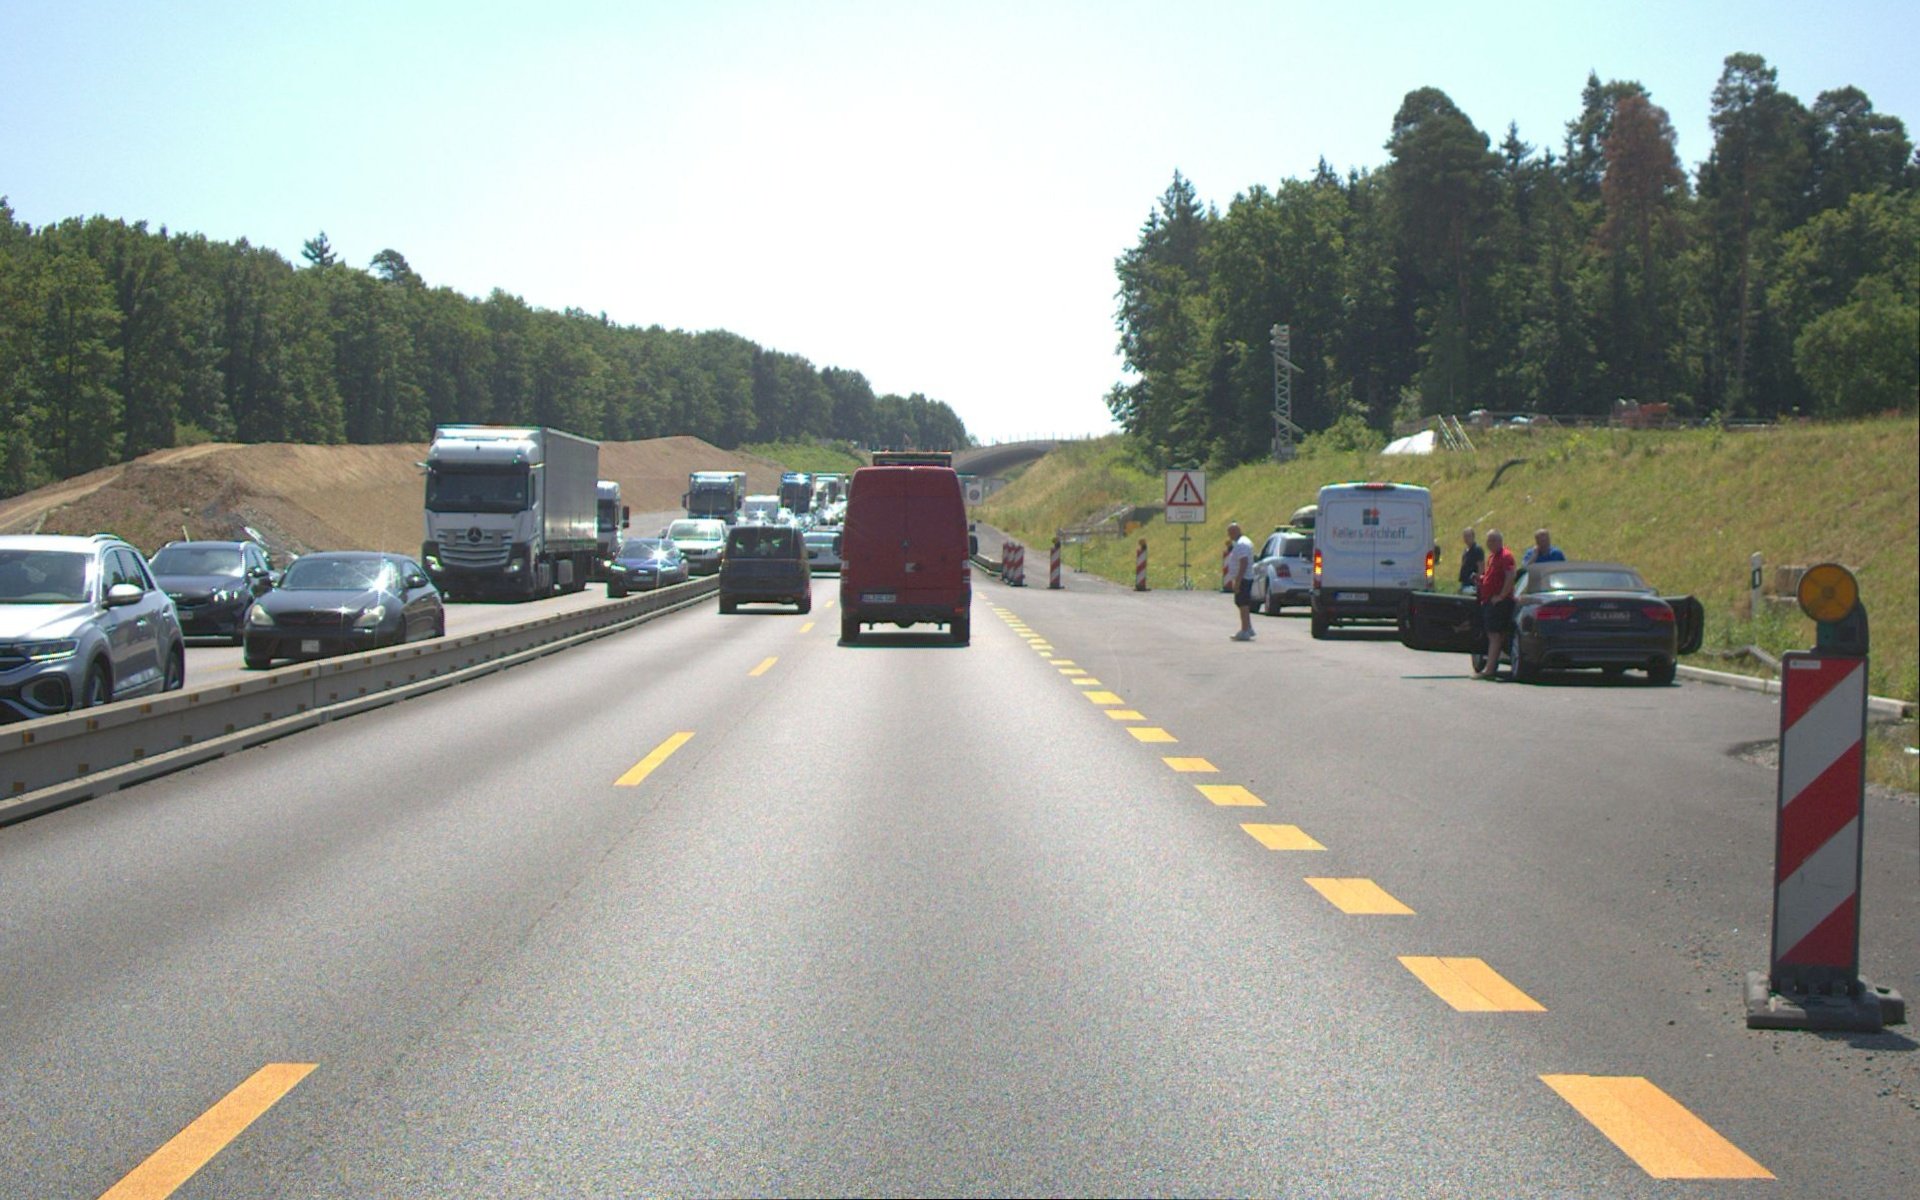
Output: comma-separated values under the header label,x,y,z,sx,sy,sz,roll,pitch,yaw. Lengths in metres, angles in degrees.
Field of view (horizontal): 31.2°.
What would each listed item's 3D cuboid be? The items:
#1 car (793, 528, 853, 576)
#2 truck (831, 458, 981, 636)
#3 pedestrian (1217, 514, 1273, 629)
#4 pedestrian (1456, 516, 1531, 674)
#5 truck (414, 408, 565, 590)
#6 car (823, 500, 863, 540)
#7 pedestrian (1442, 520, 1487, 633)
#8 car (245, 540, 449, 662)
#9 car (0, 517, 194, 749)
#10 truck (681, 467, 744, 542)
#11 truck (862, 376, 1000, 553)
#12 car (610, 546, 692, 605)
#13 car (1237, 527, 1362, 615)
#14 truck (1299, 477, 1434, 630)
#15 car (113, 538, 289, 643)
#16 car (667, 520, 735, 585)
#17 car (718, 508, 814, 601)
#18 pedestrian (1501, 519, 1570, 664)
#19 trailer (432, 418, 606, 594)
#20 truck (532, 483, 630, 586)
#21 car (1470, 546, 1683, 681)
label,x,y,z,sx,sy,sz,roll,pitch,yaw
car,-4.519,-1.583,113.853,1.831,1.517,3.961,1,0,-1
truck,-0.840,-0.786,53.150,2.153,2.581,5.333,1,0,-1
pedestrian,4.548,-0.455,54.913,0.723,1.822,0.720,1,0,-9
pedestrian,6.248,-0.059,40.276,0.640,1.822,0.559,1,1,-21
truck,-10.851,-2.275,79.723,2.768,4.030,4.943,1,0,0
car,-6.092,-4.161,179.760,1.993,2.007,4.000,1,0,-1
pedestrian,8.054,-0.374,54.886,0.563,1.789,0.667,1,0,-2
car,-7.451,0.000,42.184,1.729,1.382,4.861,1,0,-2
car,-6.926,0.201,25.214,1.775,1.549,4.140,-1,1,-2
truck,-12.768,-4.869,177.916,2.509,3.605,9.641,1,0,0
truck,-1.041,-4.519,120.084,4.400,5.477,16.604,1,0,-1
car,-7.615,-0.597,84.970,1.726,1.382,4.484,1,0,-2
car,7.102,-0.639,72.375,1.774,1.671,4.856,2,2,-4
truck,6.911,-0.821,58.684,2.130,2.448,5.924,1,1,6
car,-10.887,-0.135,49.561,1.630,1.419,4.502,1,0,-2
car,-8.073,-1.456,107.370,1.825,1.920,5.264,1,0,-2
car,-3.985,-0.955,71.193,1.751,1.818,4.783,1,1,-1
pedestrian,7.318,-0.112,43.743,0.624,1.822,0.643,1,1,-12
trailer,-10.966,-2.333,86.841,2.790,4.061,13.712,1,1,-1
truck,-11.591,-1.969,105.412,2.398,3.048,5.062,1,0,0
car,7.218,0.116,40.644,1.654,1.422,4.545,-2,1,0
